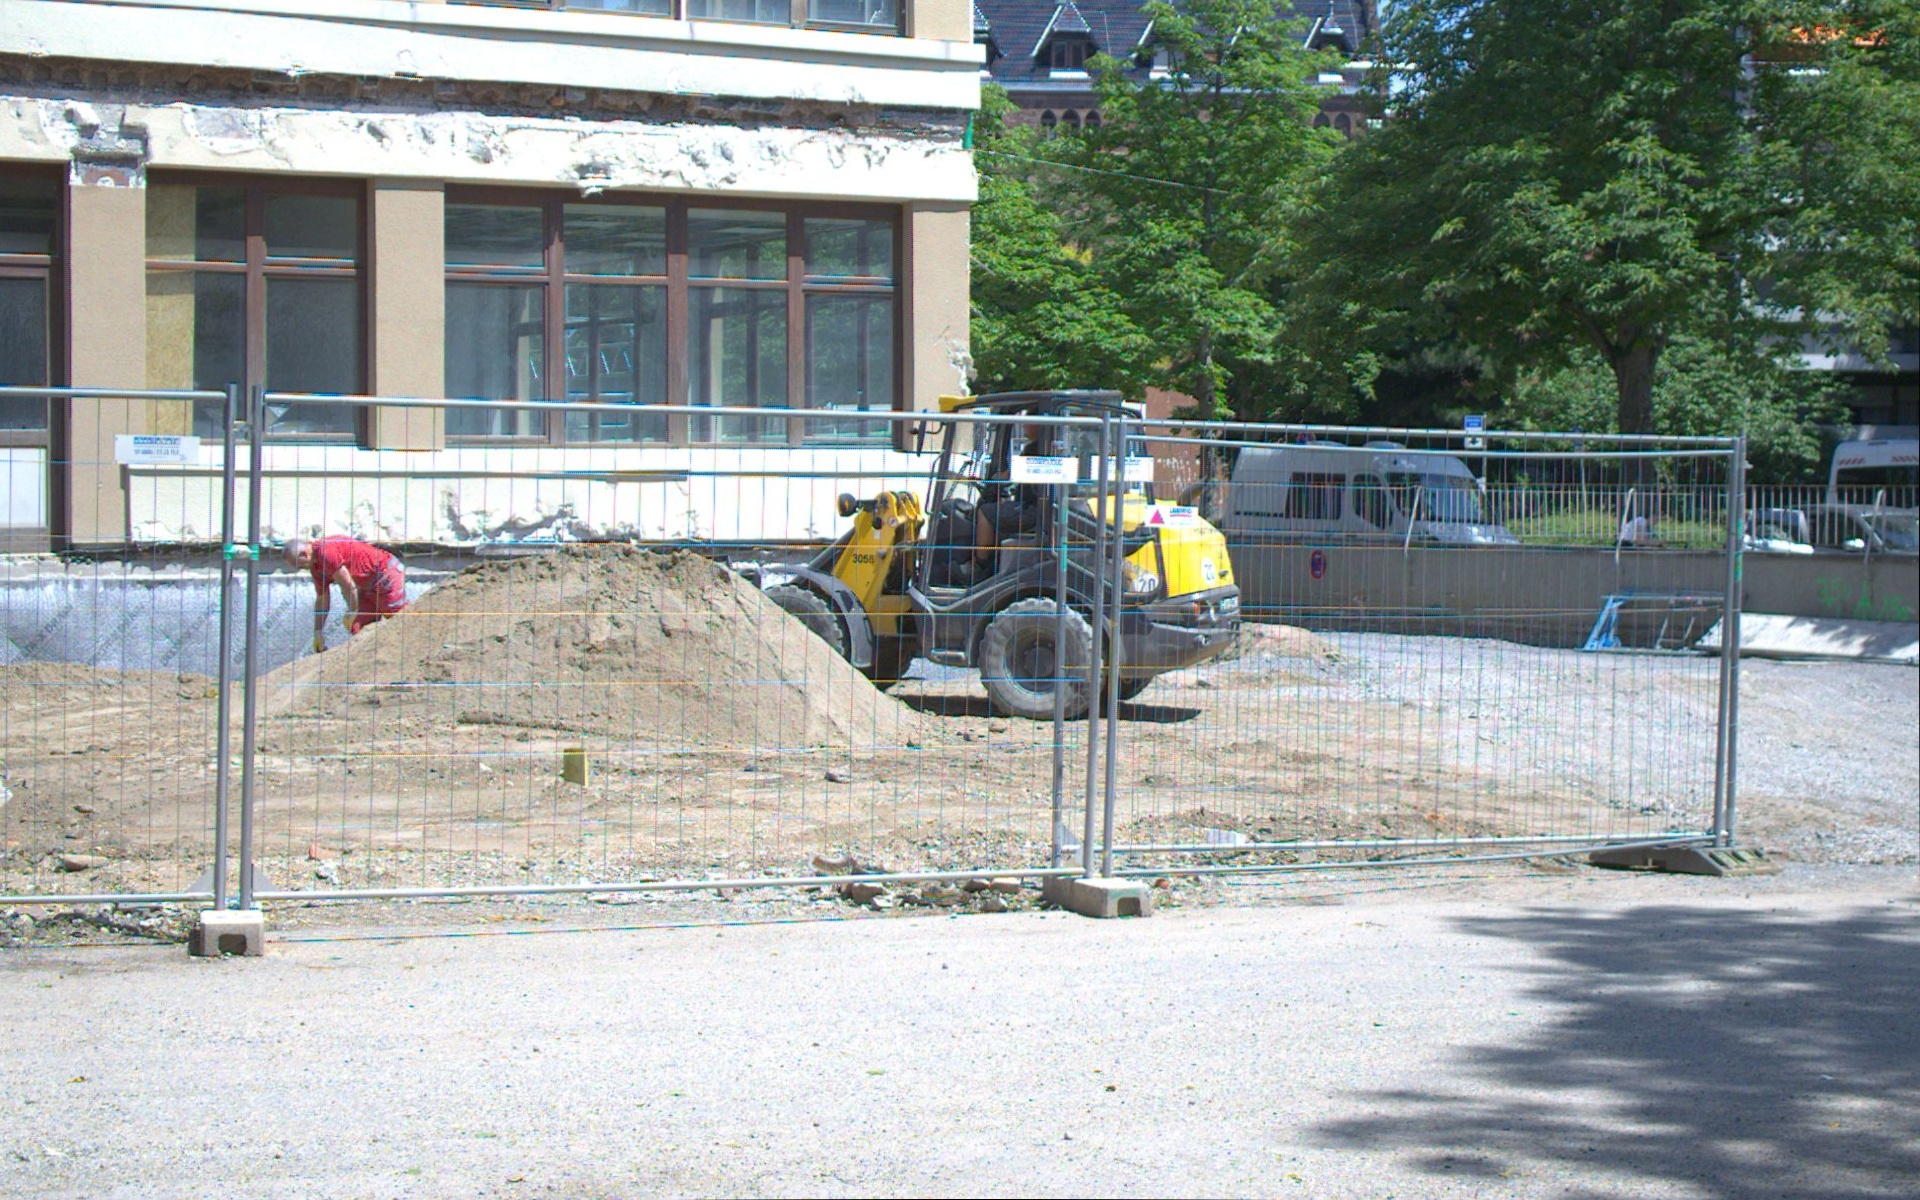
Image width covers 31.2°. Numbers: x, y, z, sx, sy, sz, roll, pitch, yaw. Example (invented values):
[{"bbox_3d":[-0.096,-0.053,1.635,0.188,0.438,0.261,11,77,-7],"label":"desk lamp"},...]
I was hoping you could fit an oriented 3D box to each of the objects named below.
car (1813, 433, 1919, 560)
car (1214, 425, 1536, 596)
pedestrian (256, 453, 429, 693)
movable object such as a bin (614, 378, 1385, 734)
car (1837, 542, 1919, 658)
[{"bbox_3d":[17.105,-1.888,63.390,2.186,2.250,4.864,0,1,20],"label":"car"},{"bbox_3d":[6.095,-1.326,51.179,1.993,2.408,5.244,-1,2,-30],"label":"car"},{"bbox_3d":[-4.854,-0.219,27.035,0.983,1.840,0.916,-1,2,-45],"label":"pedestrian"},{"bbox_3d":[0.307,-0.403,26.564,5.409,2.455,2.365,2,2,22],"label":"movable object such as a bin"},{"bbox_3d":[12.359,-0.022,40.805,3.713,1.316,1.614,-1,2,-31],"label":"car"}]
